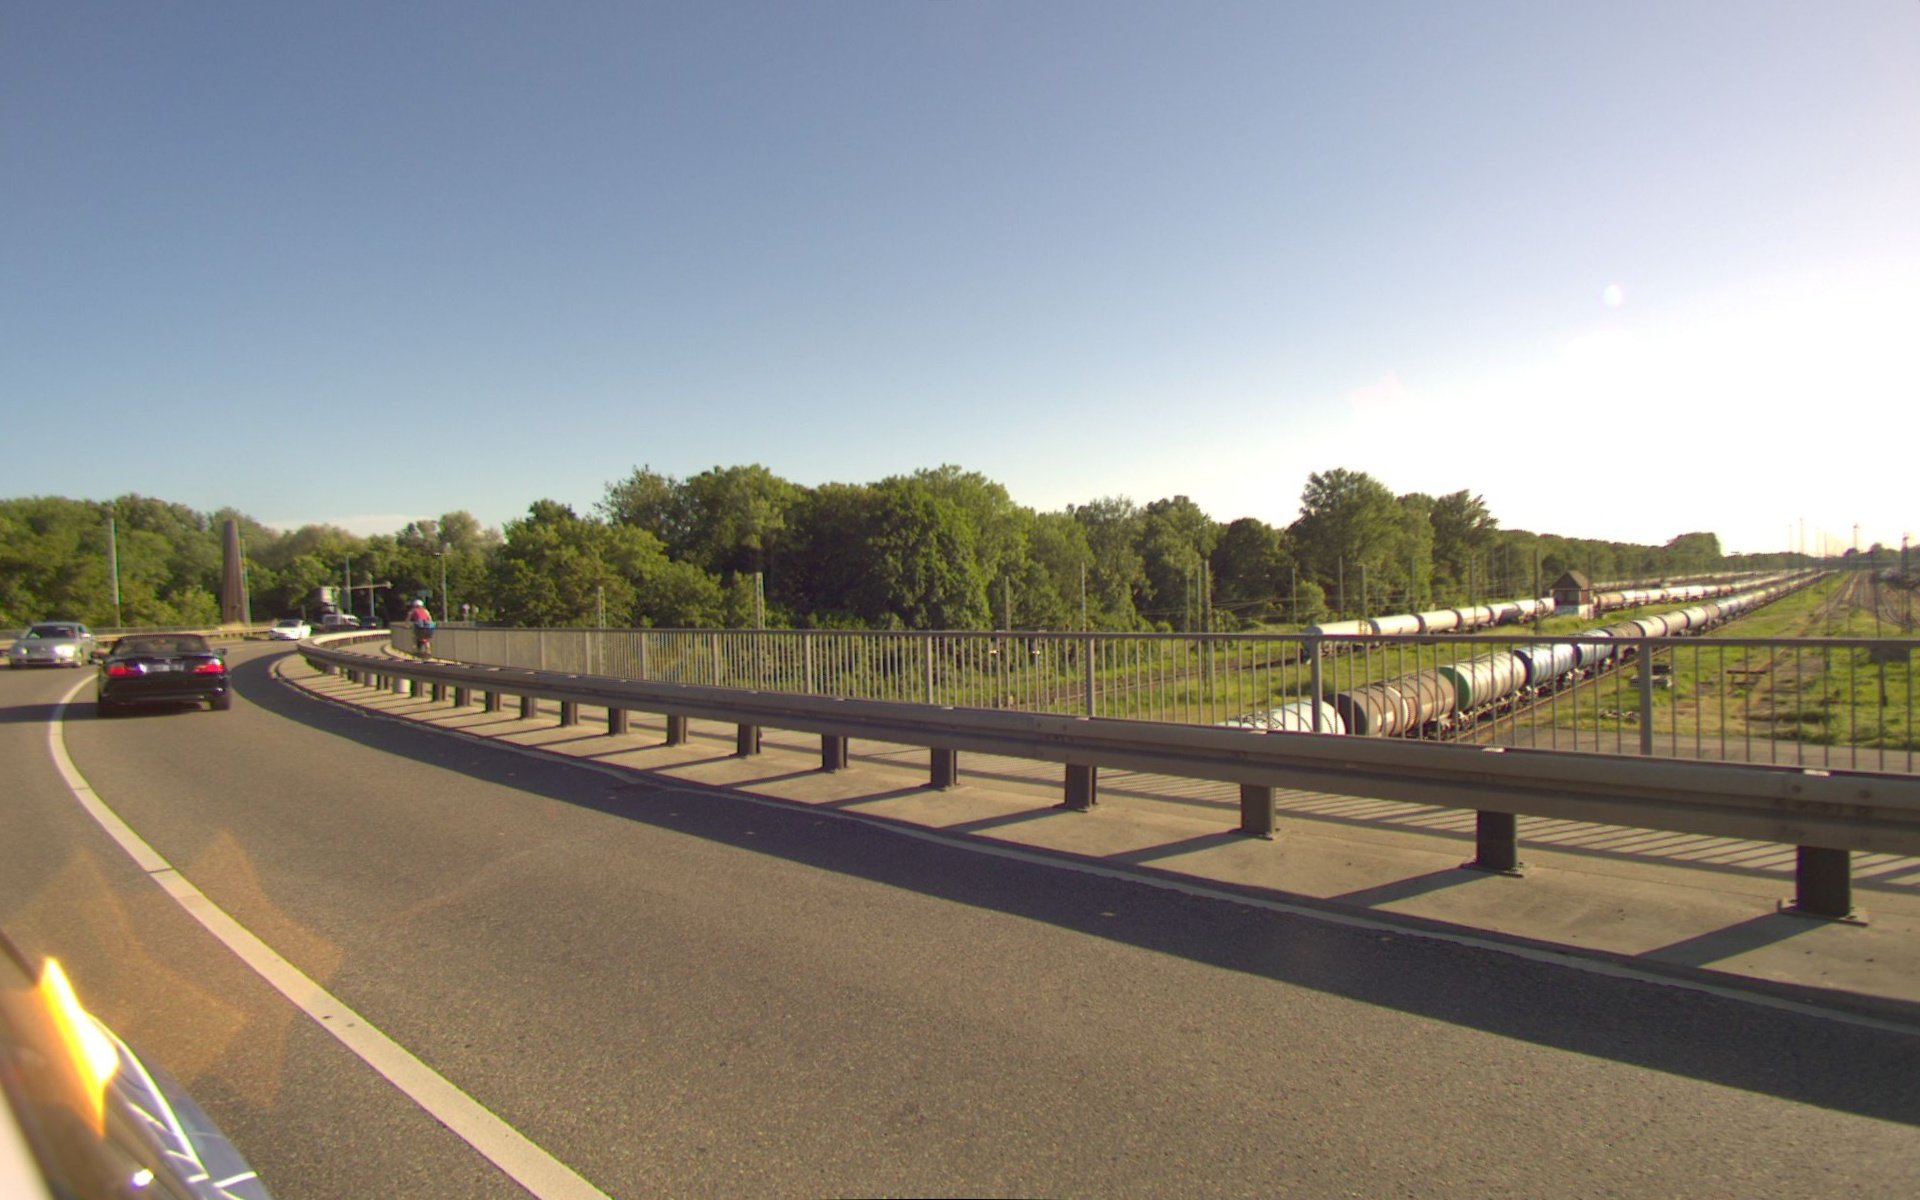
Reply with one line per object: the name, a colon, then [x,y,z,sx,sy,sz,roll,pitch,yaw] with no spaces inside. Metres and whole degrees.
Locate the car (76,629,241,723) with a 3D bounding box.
car: [-13.649,1.192,17.143,4.184,1.365,1.725,-2,-2,45]

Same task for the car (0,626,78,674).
car: [-29.920,1.569,32.957,1.738,1.447,4.336,0,-1,-41]

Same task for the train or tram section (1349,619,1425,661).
train or tram section: [57.628,5.215,136.095,4.047,5.125,17.938,-2,-1,41]

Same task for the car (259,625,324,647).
car: [-47.508,2.520,72.024,1.966,1.484,4.130,-1,-1,-1]

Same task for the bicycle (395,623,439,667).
bicycle: [-13.865,1.129,25.804,0.645,1.073,1.893,0,-1,-39]

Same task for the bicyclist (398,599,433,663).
bicyclist: [-13.924,0.792,25.884,0.645,1.601,0.769,0,-2,-39]

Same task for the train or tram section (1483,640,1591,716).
train or tram section: [45.560,5.831,79.493,3.905,5.055,16.137,-2,-1,42]

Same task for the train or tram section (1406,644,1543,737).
train or tram section: [34.612,5.672,67.425,3.905,5.055,16.434,-2,-1,42]

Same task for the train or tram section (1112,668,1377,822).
train or tram section: [12.780,5.632,43.290,3.905,4.626,16.534,-2,-1,42]

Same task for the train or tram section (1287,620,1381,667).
train or tram section: [45.425,5.080,122.130,4.047,5.125,19.087,-2,-1,41]

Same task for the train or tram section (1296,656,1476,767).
train or tram section: [23.716,5.688,55.388,3.905,4.626,16.084,-2,-1,42]

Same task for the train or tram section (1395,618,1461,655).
train or tram section: [69.321,5.298,149.526,4.047,5.125,17.622,-2,-1,41]

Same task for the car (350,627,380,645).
car: [-58.870,3.540,100.178,1.890,1.630,3.754,0,-1,-18]

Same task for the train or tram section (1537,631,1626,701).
train or tram section: [56.428,5.704,91.566,3.905,5.561,16.274,-2,-1,42]

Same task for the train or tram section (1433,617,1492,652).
train or tram section: [80.966,5.426,162.773,4.047,5.125,17.622,-2,-1,41]

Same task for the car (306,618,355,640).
car: [-81.885,3.764,131.663,5.651,2.518,2.105,-3,-2,14]
